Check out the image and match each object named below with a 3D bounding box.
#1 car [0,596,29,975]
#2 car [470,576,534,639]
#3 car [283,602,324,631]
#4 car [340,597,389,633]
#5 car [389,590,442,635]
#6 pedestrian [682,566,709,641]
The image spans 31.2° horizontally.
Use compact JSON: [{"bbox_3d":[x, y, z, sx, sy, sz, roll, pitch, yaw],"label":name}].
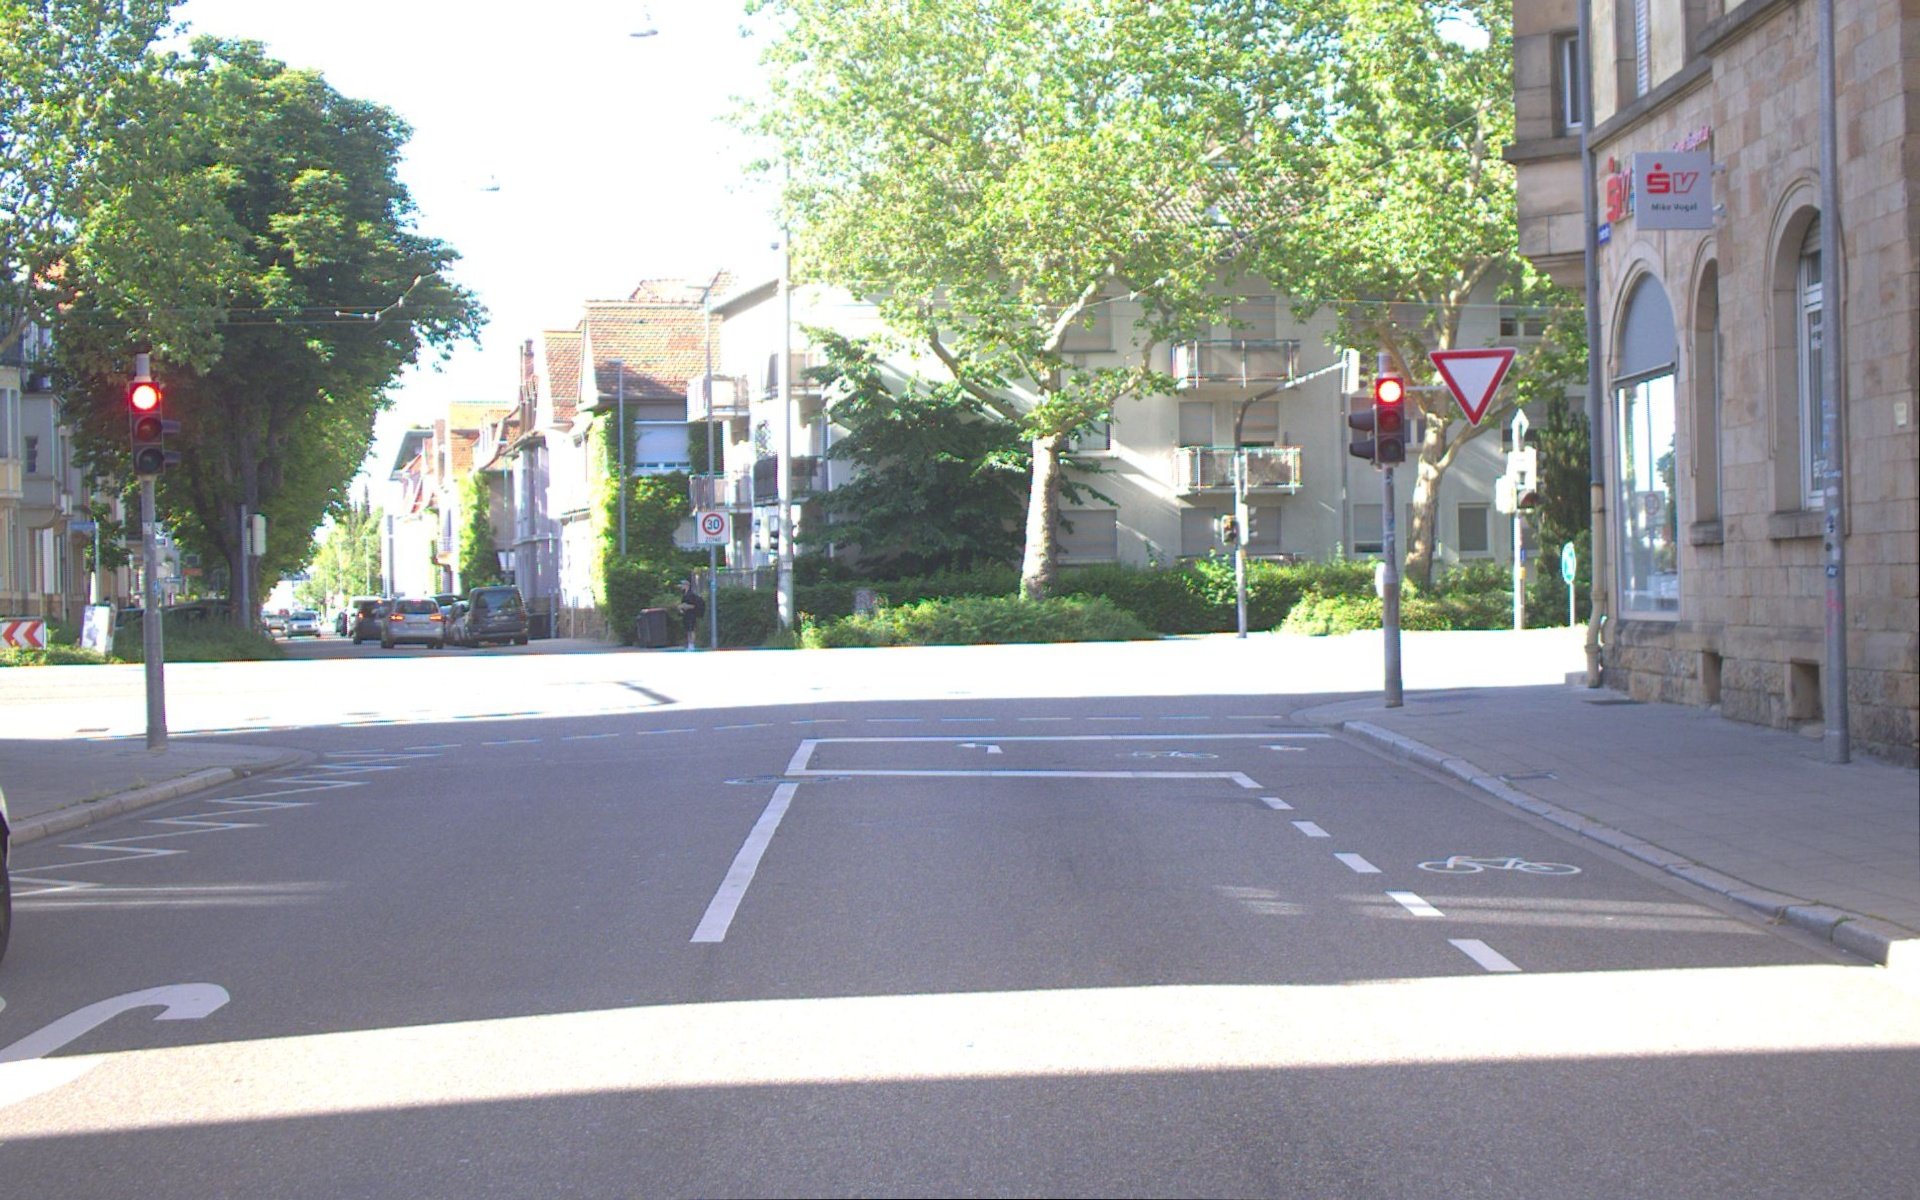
[{"bbox_3d":[-4.593,0.747,11.812,1.634,1.459,3.734,-1,1,2],"label":"car"},{"bbox_3d":[-15.334,0.243,114.973,1.993,2.007,4.001,-1,1,-9],"label":"car"},{"bbox_3d":[-35.612,0.887,186.483,1.993,1.441,4.001,-1,1,-13],"label":"car"},{"bbox_3d":[-23.709,0.598,136.716,1.737,1.332,3.835,-1,1,-12],"label":"car"},{"bbox_3d":[-18.143,0.415,114.483,1.673,1.477,3.523,0,0,-10],"label":"car"},{"bbox_3d":[-6.169,0.072,80.203,0.633,1.744,0.659,0,0,-3],"label":"pedestrian"}]
